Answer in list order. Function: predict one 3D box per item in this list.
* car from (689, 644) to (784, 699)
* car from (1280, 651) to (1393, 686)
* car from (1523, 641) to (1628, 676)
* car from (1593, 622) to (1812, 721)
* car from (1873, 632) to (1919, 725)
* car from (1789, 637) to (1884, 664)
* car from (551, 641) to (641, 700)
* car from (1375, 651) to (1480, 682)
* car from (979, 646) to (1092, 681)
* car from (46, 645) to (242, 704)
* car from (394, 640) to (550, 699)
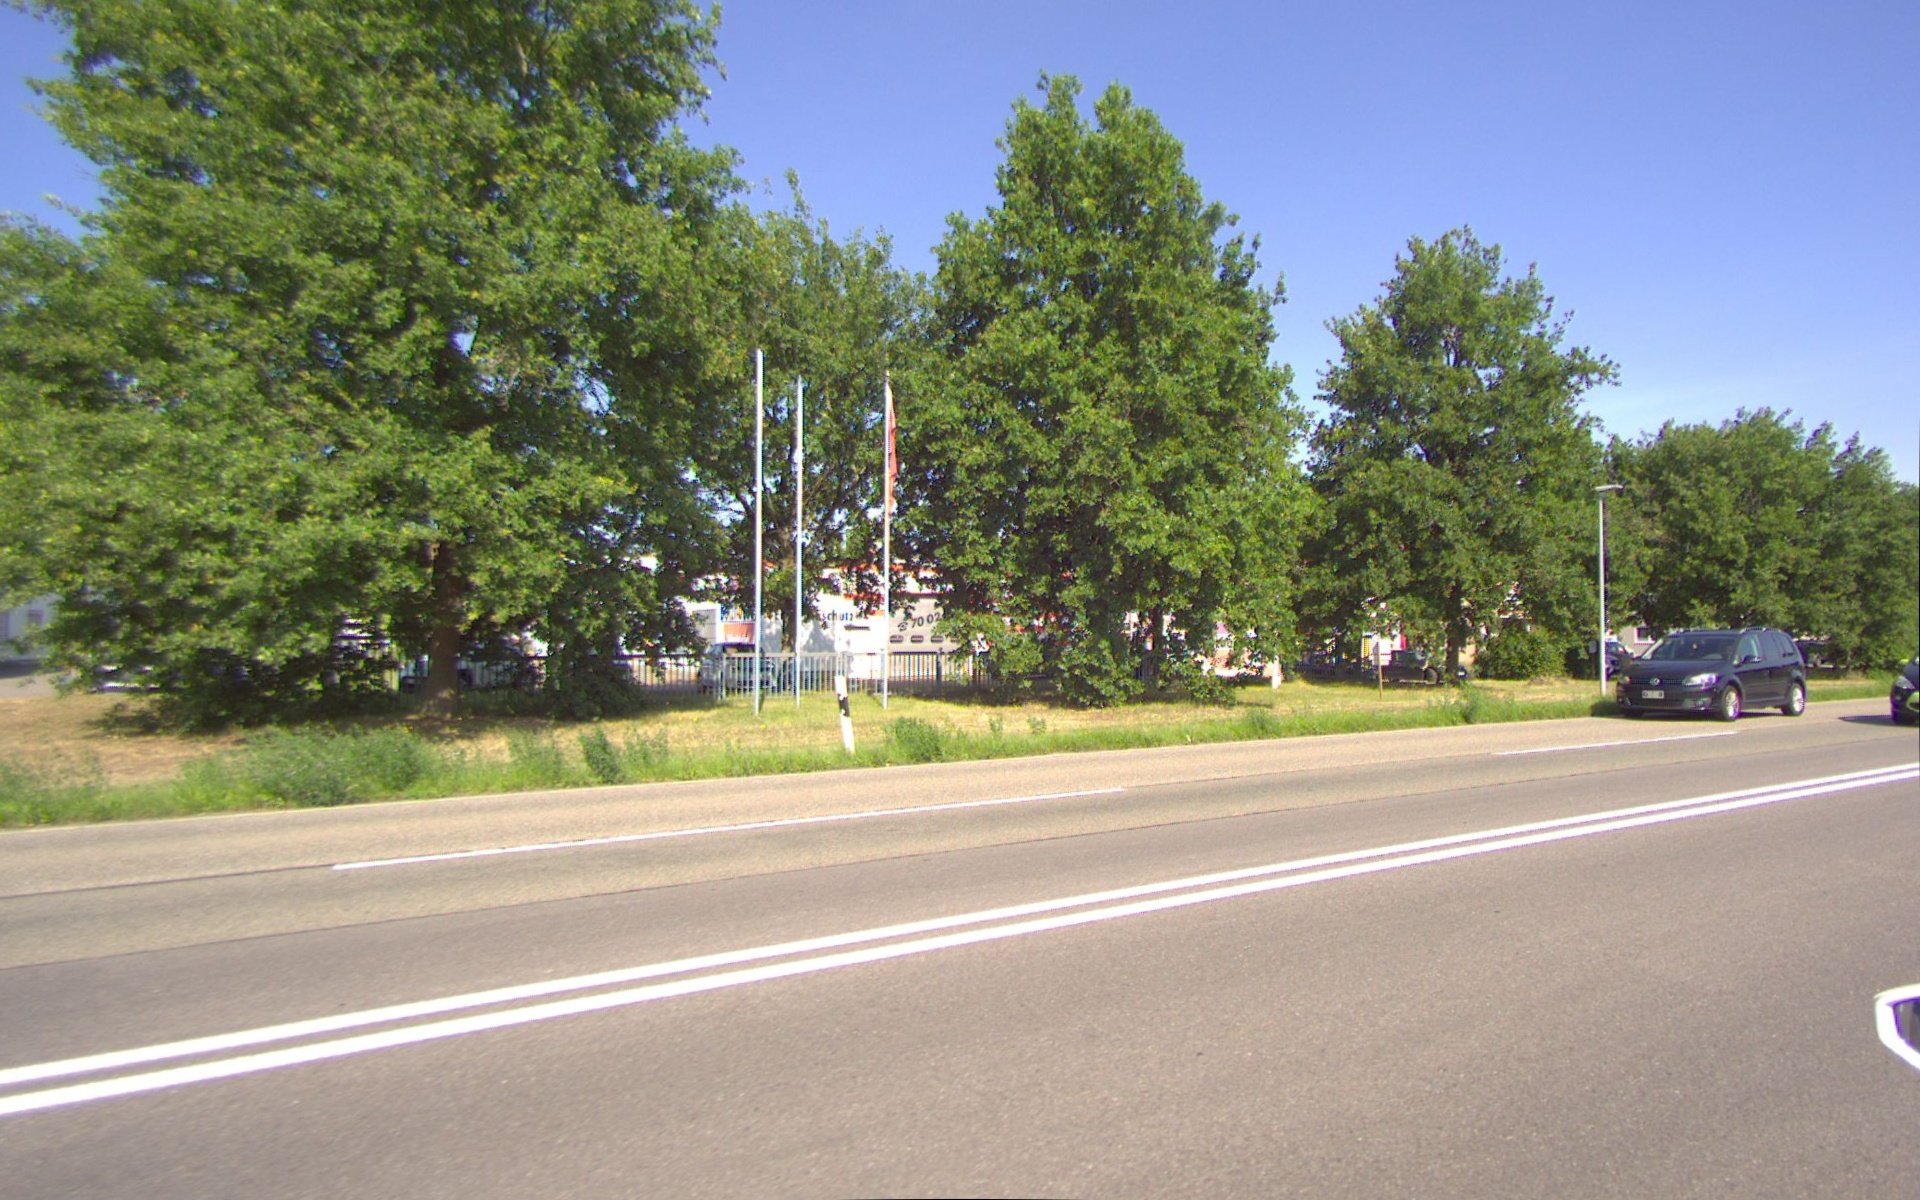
[{"bbox_3d":[-6.820,2.109,30.374,1.737,1.520,3.969,1,-2,-30],"label":"car"},{"bbox_3d":[15.943,2.951,42.793,1.835,1.342,4.332,2,-6,-30],"label":"car"},{"bbox_3d":[31.996,3.078,52.356,1.976,1.753,4.204,1,-4,-30],"label":"car"},{"bbox_3d":[14.137,1.320,19.081,4.340,1.693,1.817,1,-4,-31],"label":"car"},{"bbox_3d":[16.890,1.271,16.661,3.731,1.469,1.510,1,-4,-31],"label":"car"},{"bbox_3d":[62.411,3.558,71.571,4.916,1.830,2.075,1,-2,1],"label":"car"},{"bbox_3d":[-10.345,1.929,28.395,1.737,1.520,3.969,1,-2,-30],"label":"car"},{"bbox_3d":[21.192,3.019,45.677,1.840,1.323,3.971,1,-4,-29],"label":"car"},{"bbox_3d":[3.194,2.636,42.039,4.612,1.367,1.777,2,-3,-33],"label":"car"},{"bbox_3d":[-20.947,1.870,25.976,3.680,1.408,1.628,1,-2,-31],"label":"car"},{"bbox_3d":[-13.678,1.908,28.437,1.705,1.520,4.002,-1,-2,17],"label":"car"}]
